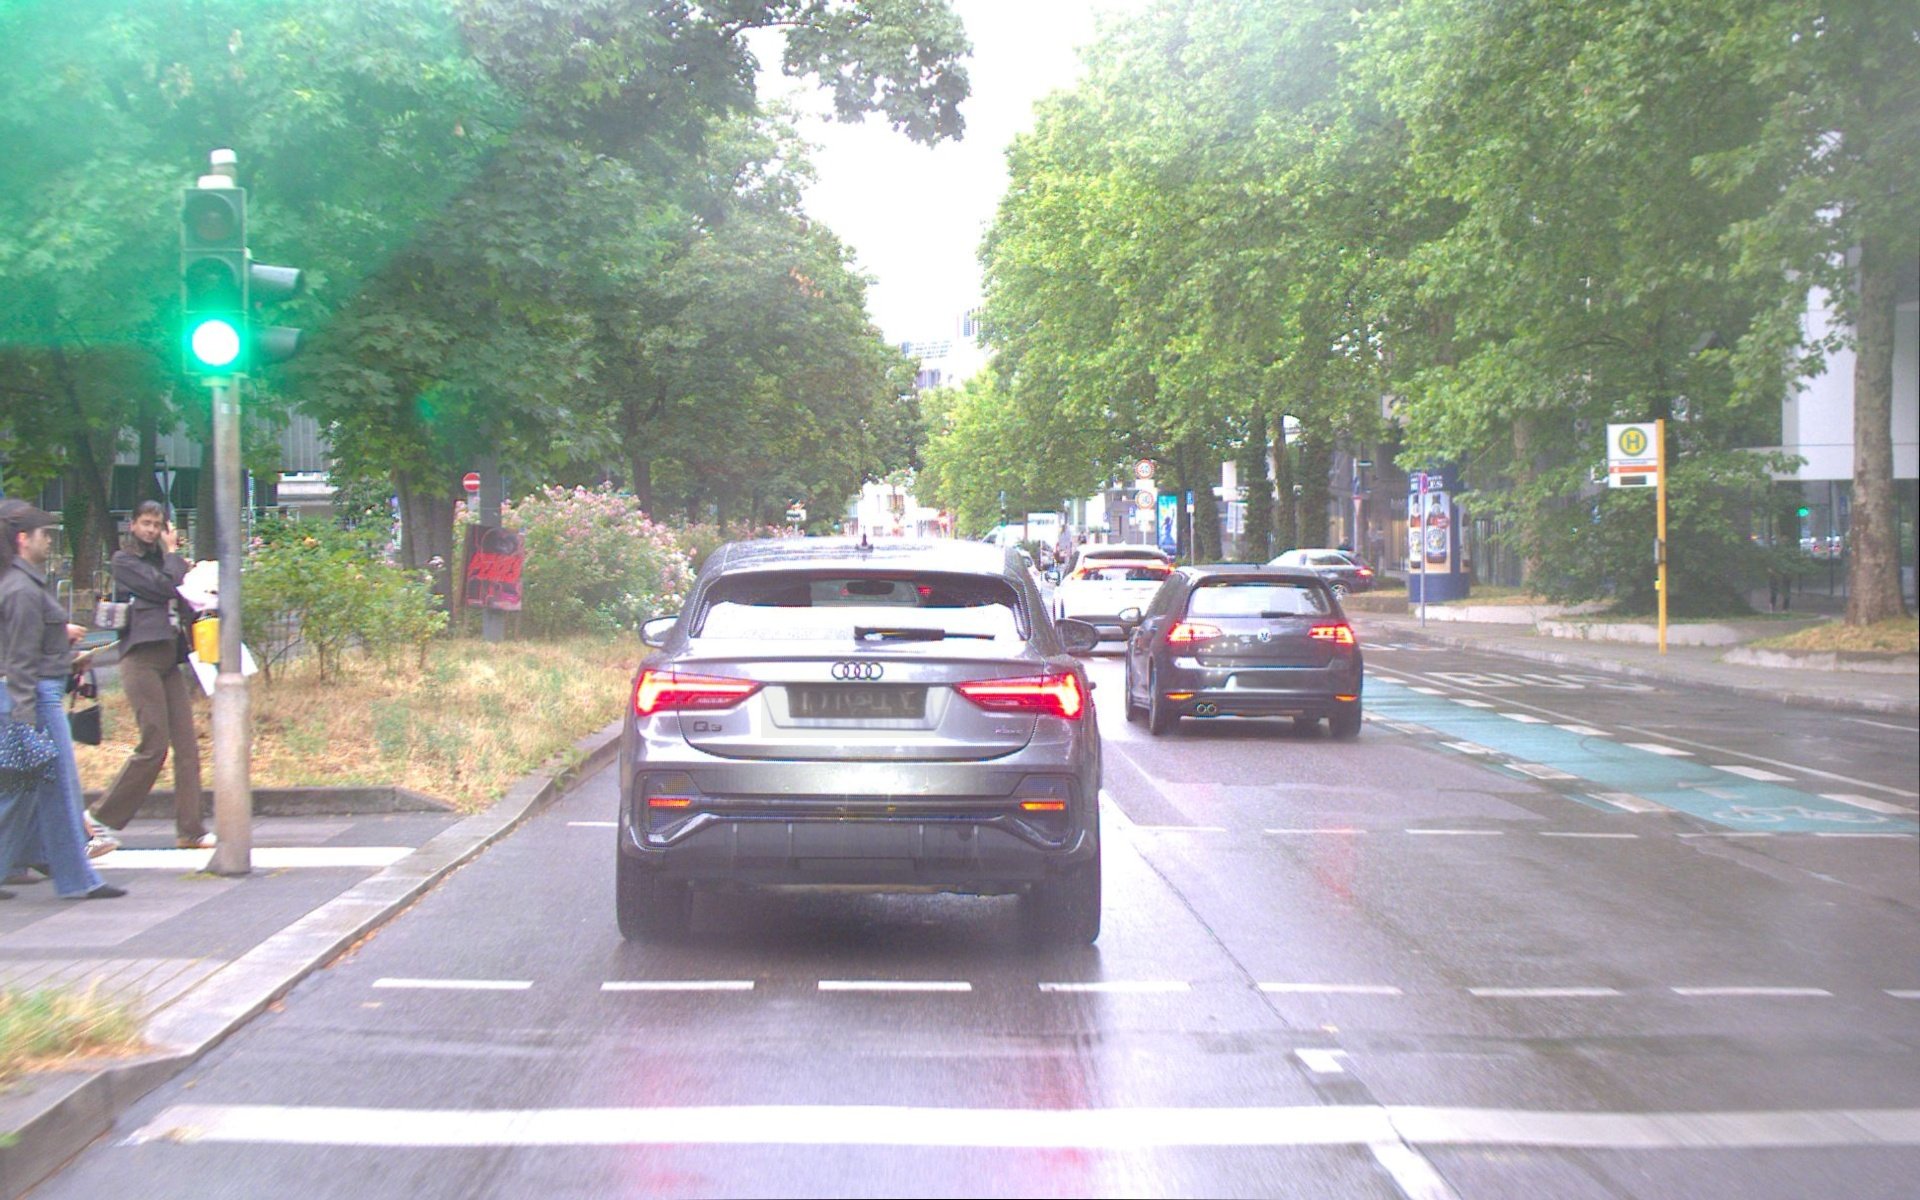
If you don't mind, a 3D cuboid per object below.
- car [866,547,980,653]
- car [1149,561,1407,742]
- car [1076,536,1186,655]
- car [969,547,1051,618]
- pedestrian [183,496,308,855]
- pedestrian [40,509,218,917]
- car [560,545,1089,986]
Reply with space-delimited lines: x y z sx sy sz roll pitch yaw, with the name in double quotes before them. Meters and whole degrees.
"car" -0.599 -0.031 53.951 1.721 1.572 3.962 0 1 -1
"car" 2.681 0.392 29.771 1.765 1.408 4.000 -1 1 -1
"car" 2.492 -0.088 50.597 1.433 1.679 2.979 -1 1 -1
"car" 1.262 -0.471 88.115 1.993 1.744 4.000 0 1 -1
"pedestrian" -3.417 0.351 16.431 0.573 1.692 0.404 0 1 -13
"pedestrian" -3.429 0.447 14.169 0.611 1.636 0.605 0 1 -23
"car" -0.465 0.547 14.390 1.863 1.527 4.527 0 1 0
